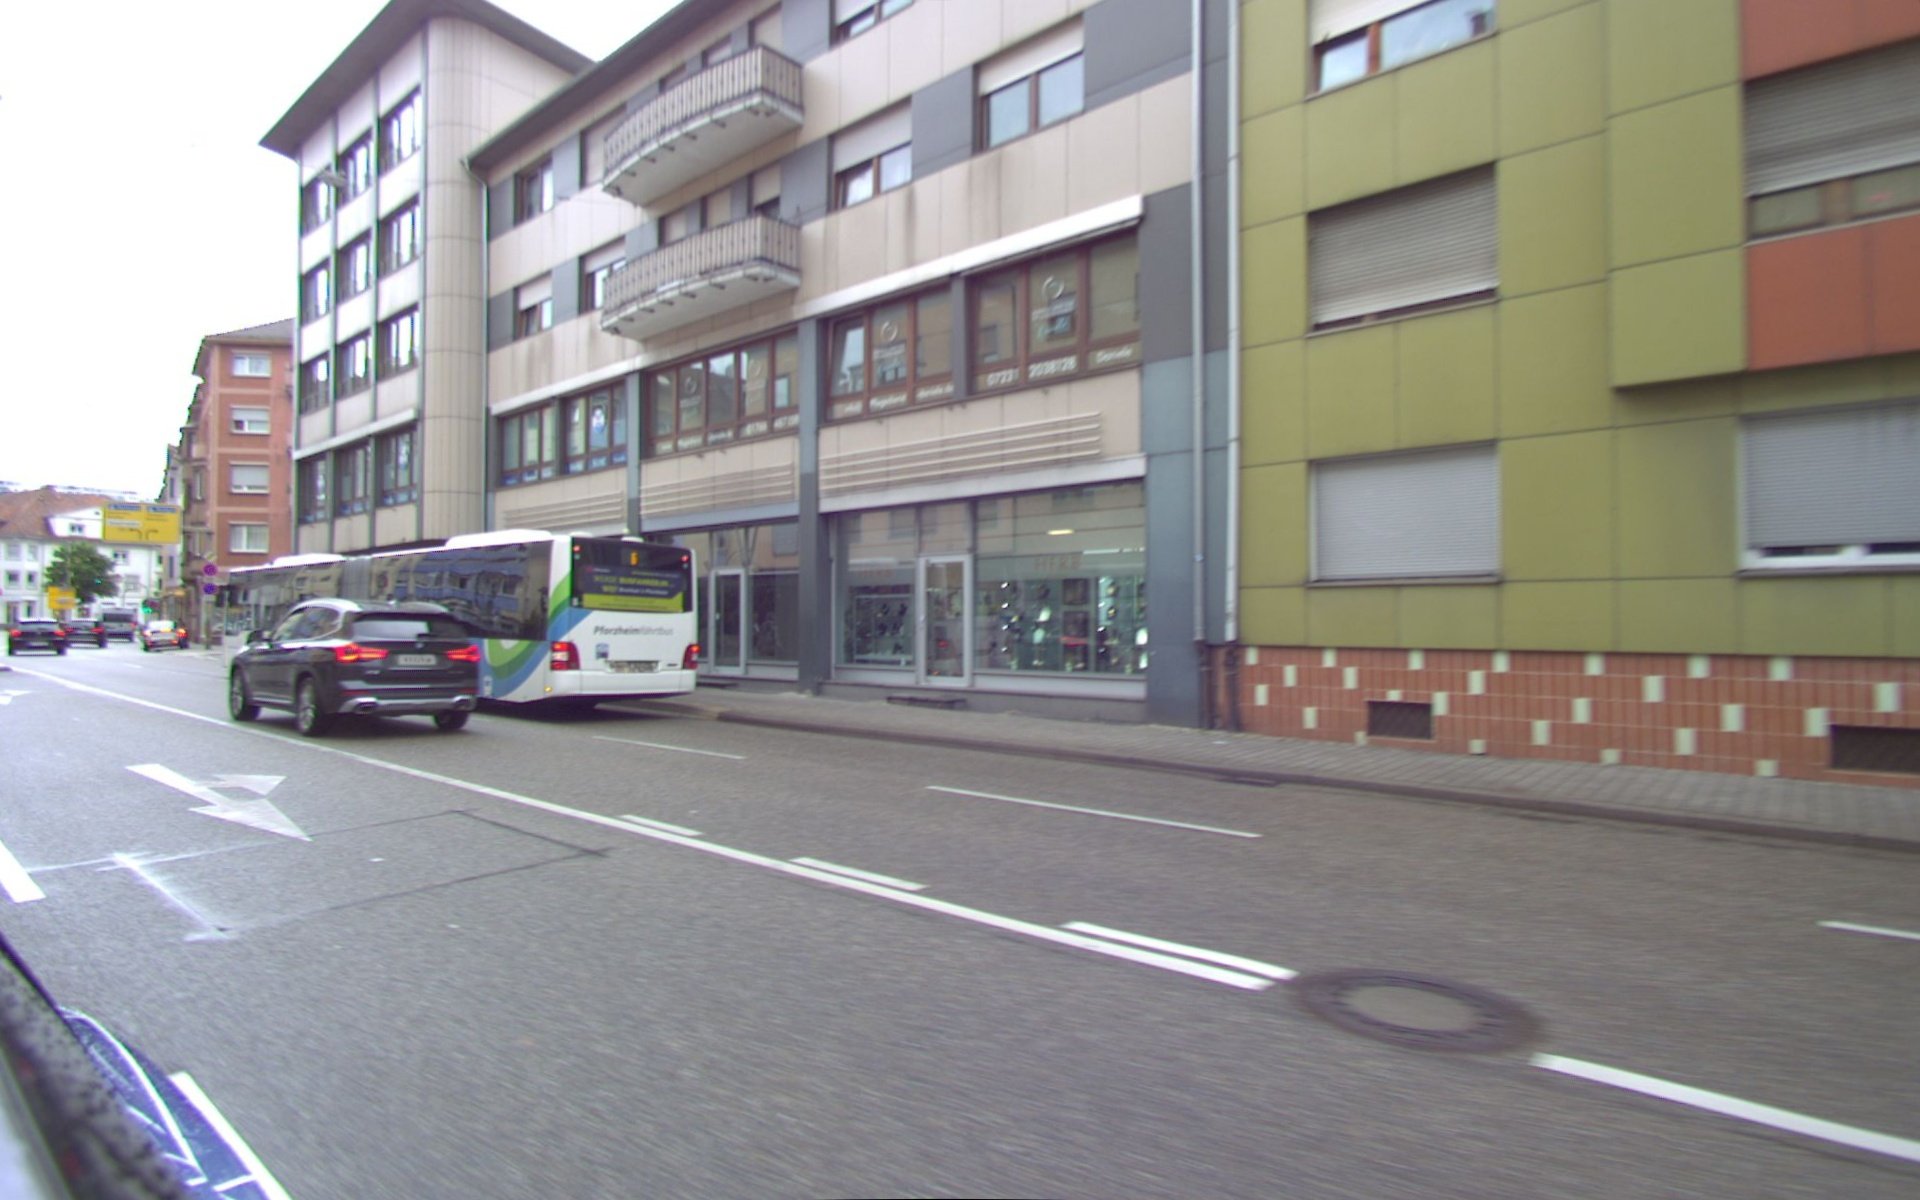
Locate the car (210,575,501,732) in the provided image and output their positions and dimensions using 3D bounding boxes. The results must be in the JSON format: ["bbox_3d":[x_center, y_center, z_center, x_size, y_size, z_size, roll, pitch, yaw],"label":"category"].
[{"bbox_3d":[-8.206,0.627,13.569,4.568,1.770,1.911,0,-2,39],"label":"car"}]

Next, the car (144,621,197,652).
[{"bbox_3d":[-40.098,1.812,51.375,1.827,1.408,4.799,-3,1,-41],"label":"car"}]

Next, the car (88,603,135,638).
[{"bbox_3d":[-62.818,1.501,74.908,6.356,2.454,2.062,0,-2,45],"label":"car"}]

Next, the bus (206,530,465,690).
[{"bbox_3d":[-15.219,0.238,24.281,8.907,3.213,2.730,0,-2,41],"label":"bus"}]

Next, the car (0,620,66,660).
[{"bbox_3d":[-36.303,1.527,39.360,4.083,1.462,1.691,0,-2,40],"label":"car"}]

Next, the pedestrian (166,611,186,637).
[{"bbox_3d":[-52.917,1.620,68.278,0.852,1.691,0.834,0,1,37],"label":"pedestrian"}]

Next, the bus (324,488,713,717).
[{"bbox_3d":[-8.364,0.072,18.279,9.288,3.213,2.697,0,-2,41],"label":"bus"}]

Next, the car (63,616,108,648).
[{"bbox_3d":[-48.197,1.764,55.834,1.721,1.674,4.425,2,-3,-39],"label":"car"}]

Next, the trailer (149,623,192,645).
[{"bbox_3d":[-37.650,1.588,48.228,1.567,0.956,3.062,0,-1,-39],"label":"trailer"}]
